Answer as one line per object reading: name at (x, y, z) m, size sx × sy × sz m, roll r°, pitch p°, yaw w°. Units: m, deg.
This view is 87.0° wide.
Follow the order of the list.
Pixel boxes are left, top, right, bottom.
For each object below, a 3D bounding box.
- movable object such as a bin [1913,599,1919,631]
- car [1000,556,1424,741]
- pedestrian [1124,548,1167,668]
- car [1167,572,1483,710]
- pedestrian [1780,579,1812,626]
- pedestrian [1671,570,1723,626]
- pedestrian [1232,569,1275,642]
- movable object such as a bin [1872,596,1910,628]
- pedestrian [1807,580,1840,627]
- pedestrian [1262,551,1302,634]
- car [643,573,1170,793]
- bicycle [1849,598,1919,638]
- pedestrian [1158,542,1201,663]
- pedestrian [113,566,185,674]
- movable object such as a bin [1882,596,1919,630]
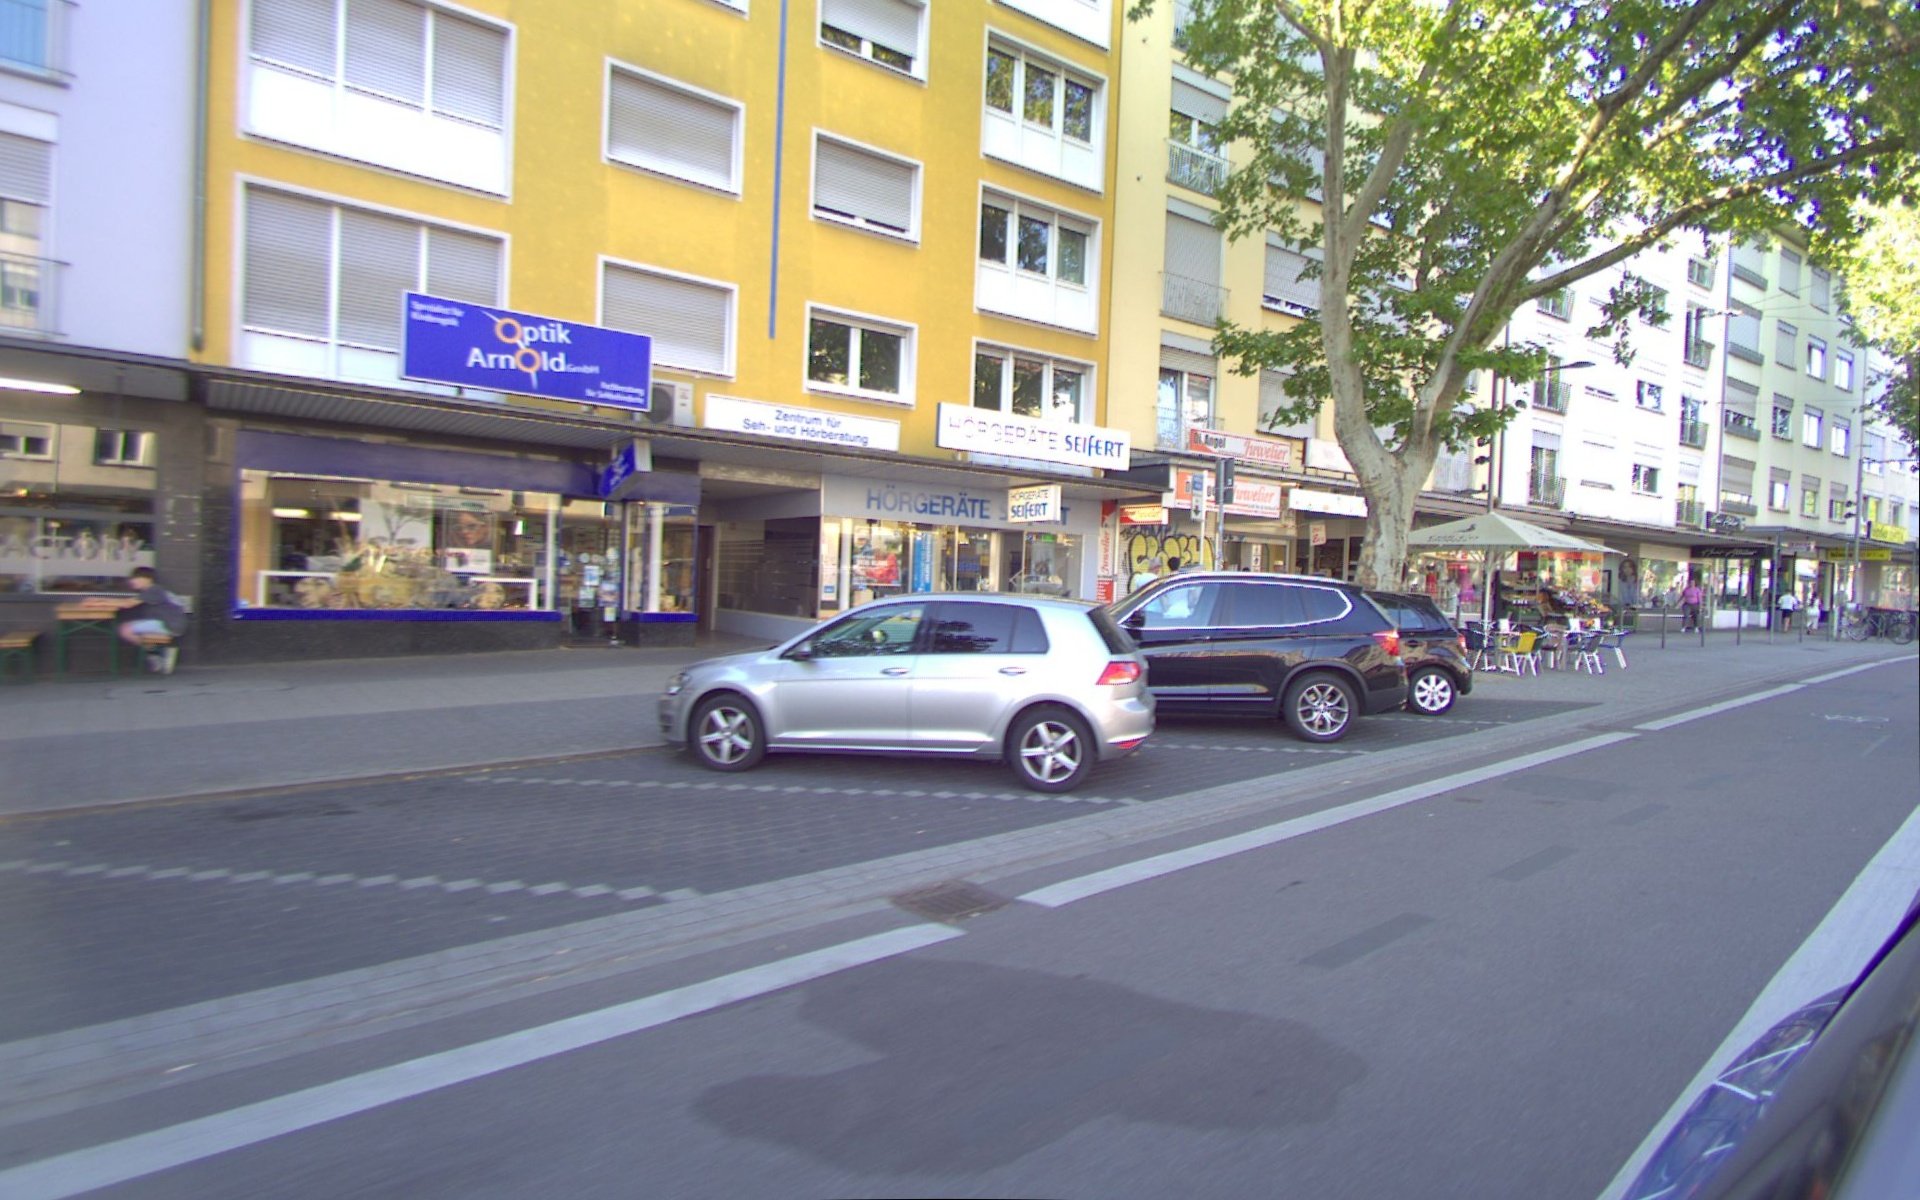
movable object such as a bin at (33.734, 0.543, 35.107) m, size 0.631 × 1.115 × 0.726 m, roll 0°, pitch 6°, yaw -27°
car at (2.574, 0.426, 10.998) m, size 4.083 × 1.701 × 1.805 m, roll 2°, pitch 2°, yaw 9°
pedestrian at (2.942, 0.121, 16.022) m, size 0.512 × 1.855 × 0.470 m, roll 2°, pitch 2°, yaw 28°
car at (4.584, 0.464, 13.219) m, size 3.549 × 1.559 × 1.738 m, roll 2°, pitch 2°, yaw 9°
pedestrian at (29.850, 0.087, 36.127) m, size 0.615 × 1.605 × 0.624 m, roll 0°, pitch 4°, yaw -35°
pedestrian at (24.417, -0.085, 33.535) m, size 1.111 × 1.784 × 0.972 m, roll 0°, pitch 3°, yaw -33°
pedestrian at (6.538, 0.108, 22.587) m, size 0.624 × 1.564 × 0.628 m, roll 1°, pitch 5°, yaw -10°
movable object such as a bin at (33.535, 0.417, 36.466) m, size 0.630 × 1.085 × 0.726 m, roll 1°, pitch 3°, yaw -15°
pedestrian at (30.371, 0.113, 35.595) m, size 0.615 × 1.605 × 0.638 m, roll 0°, pitch 4°, yaw -35°
pedestrian at (7.223, -0.175, 22.711) m, size 0.614 × 1.826 × 0.638 m, roll 1°, pitch 1°, yaw -5°
car at (-0.348, 0.560, 8.551) m, size 4.113 × 1.469 × 1.804 m, roll 2°, pitch 2°, yaw 12°
bicycle at (30.345, 0.584, 33.012) m, size 0.507 × 1.118 × 1.918 m, roll 1°, pitch 4°, yaw -27°
pedestrian at (3.430, 0.024, 15.800) m, size 0.513 × 1.855 × 0.470 m, roll 2°, pitch 2°, yaw 29°
pedestrian at (-9.038, 0.210, 11.293) m, size 0.614 × 1.171 × 0.419 m, roll 0°, pitch 2°, yaw -38°
movable object such as a bin at (33.283, 0.451, 35.814) m, size 0.632 × 1.084 × 0.725 m, roll 0°, pitch 8°, yaw -36°
